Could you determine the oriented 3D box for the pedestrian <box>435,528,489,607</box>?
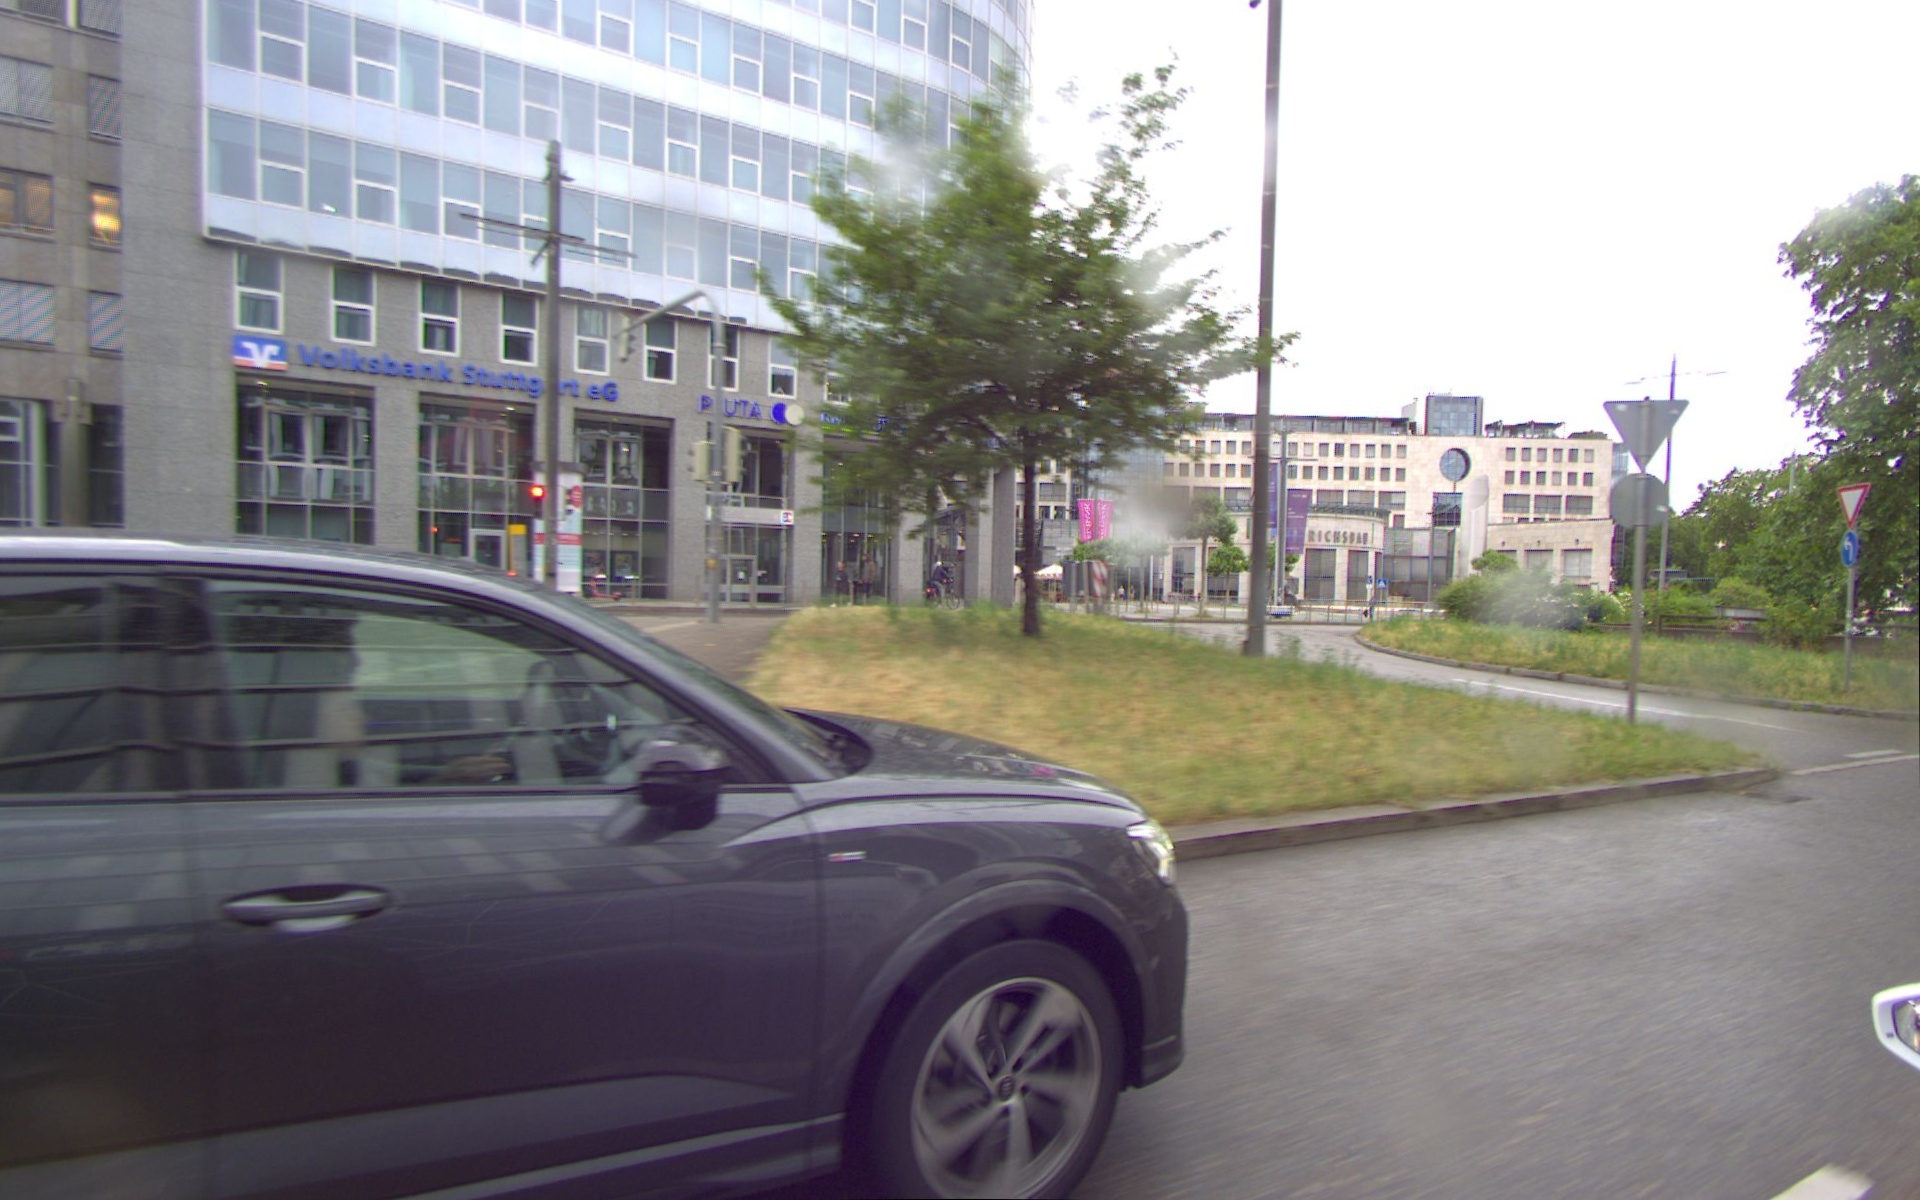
[{"bbox_3d":[-12.449,-0.804,25.122,0.926,1.906,0.947,2,0,-43],"label":"pedestrian"}]

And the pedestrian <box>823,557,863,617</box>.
[{"bbox_3d":[-4.116,-0.455,35.408,1.028,2.040,0.841,2,0,-43],"label":"pedestrian"}]

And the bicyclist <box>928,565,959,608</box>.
[{"bbox_3d":[-0.682,-0.563,42.507,1.032,1.764,0.731,1,1,-38],"label":"bicyclist"}]

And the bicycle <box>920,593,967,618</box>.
[{"bbox_3d":[-0.689,0.243,42.528,1.917,1.020,0.738,1,1,-39],"label":"bicycle"}]

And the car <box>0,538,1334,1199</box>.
[{"bbox_3d":[-1.327,0.670,2.459,4.293,1.538,1.852,2,1,-30],"label":"car"}]

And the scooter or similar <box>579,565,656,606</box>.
[{"bbox_3d":[-11.136,-0.459,32.710,2.223,1.229,0.768,2,1,-34],"label":"scooter or similar"}]

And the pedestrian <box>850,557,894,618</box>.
[{"bbox_3d":[-3.040,-0.412,34.600,1.028,2.040,1.042,2,0,-43],"label":"pedestrian"}]
